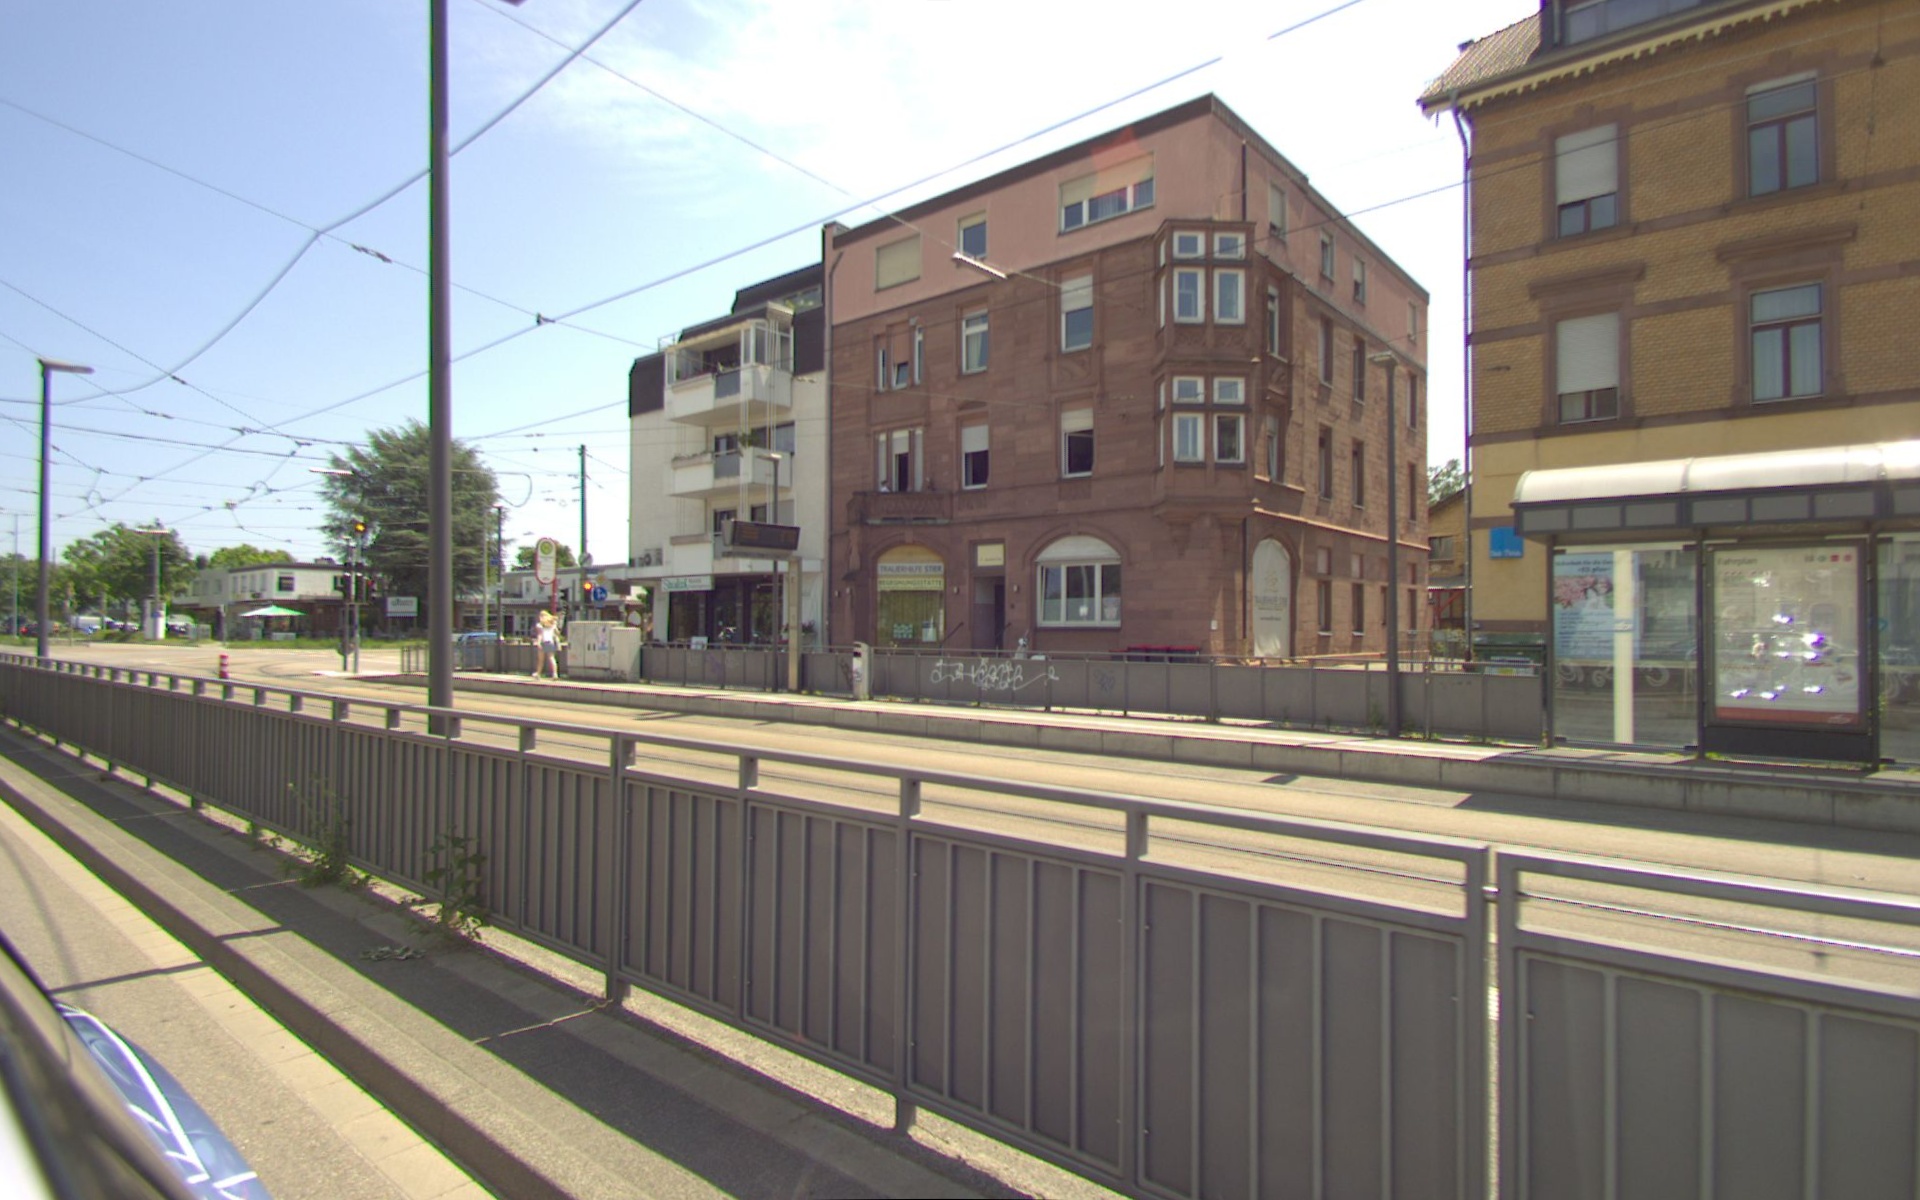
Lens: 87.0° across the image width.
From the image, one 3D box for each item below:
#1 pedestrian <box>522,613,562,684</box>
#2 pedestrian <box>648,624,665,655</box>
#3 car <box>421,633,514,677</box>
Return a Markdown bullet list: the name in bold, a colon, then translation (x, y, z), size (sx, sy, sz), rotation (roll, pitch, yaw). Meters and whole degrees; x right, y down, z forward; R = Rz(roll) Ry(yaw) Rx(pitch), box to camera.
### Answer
- **pedestrian**: translation (-9.858, 1.142, 23.861), size (0.676, 1.637, 0.590), rotation (-1, -4, 41)
- **pedestrian**: translation (-17.099, 2.237, 56.998), size (0.646, 1.728, 0.570), rotation (-1, -4, 41)
- **car**: translation (-18.253, 2.002, 37.433), size (3.998, 1.497, 1.674), rotation (-1, -1, 41)
